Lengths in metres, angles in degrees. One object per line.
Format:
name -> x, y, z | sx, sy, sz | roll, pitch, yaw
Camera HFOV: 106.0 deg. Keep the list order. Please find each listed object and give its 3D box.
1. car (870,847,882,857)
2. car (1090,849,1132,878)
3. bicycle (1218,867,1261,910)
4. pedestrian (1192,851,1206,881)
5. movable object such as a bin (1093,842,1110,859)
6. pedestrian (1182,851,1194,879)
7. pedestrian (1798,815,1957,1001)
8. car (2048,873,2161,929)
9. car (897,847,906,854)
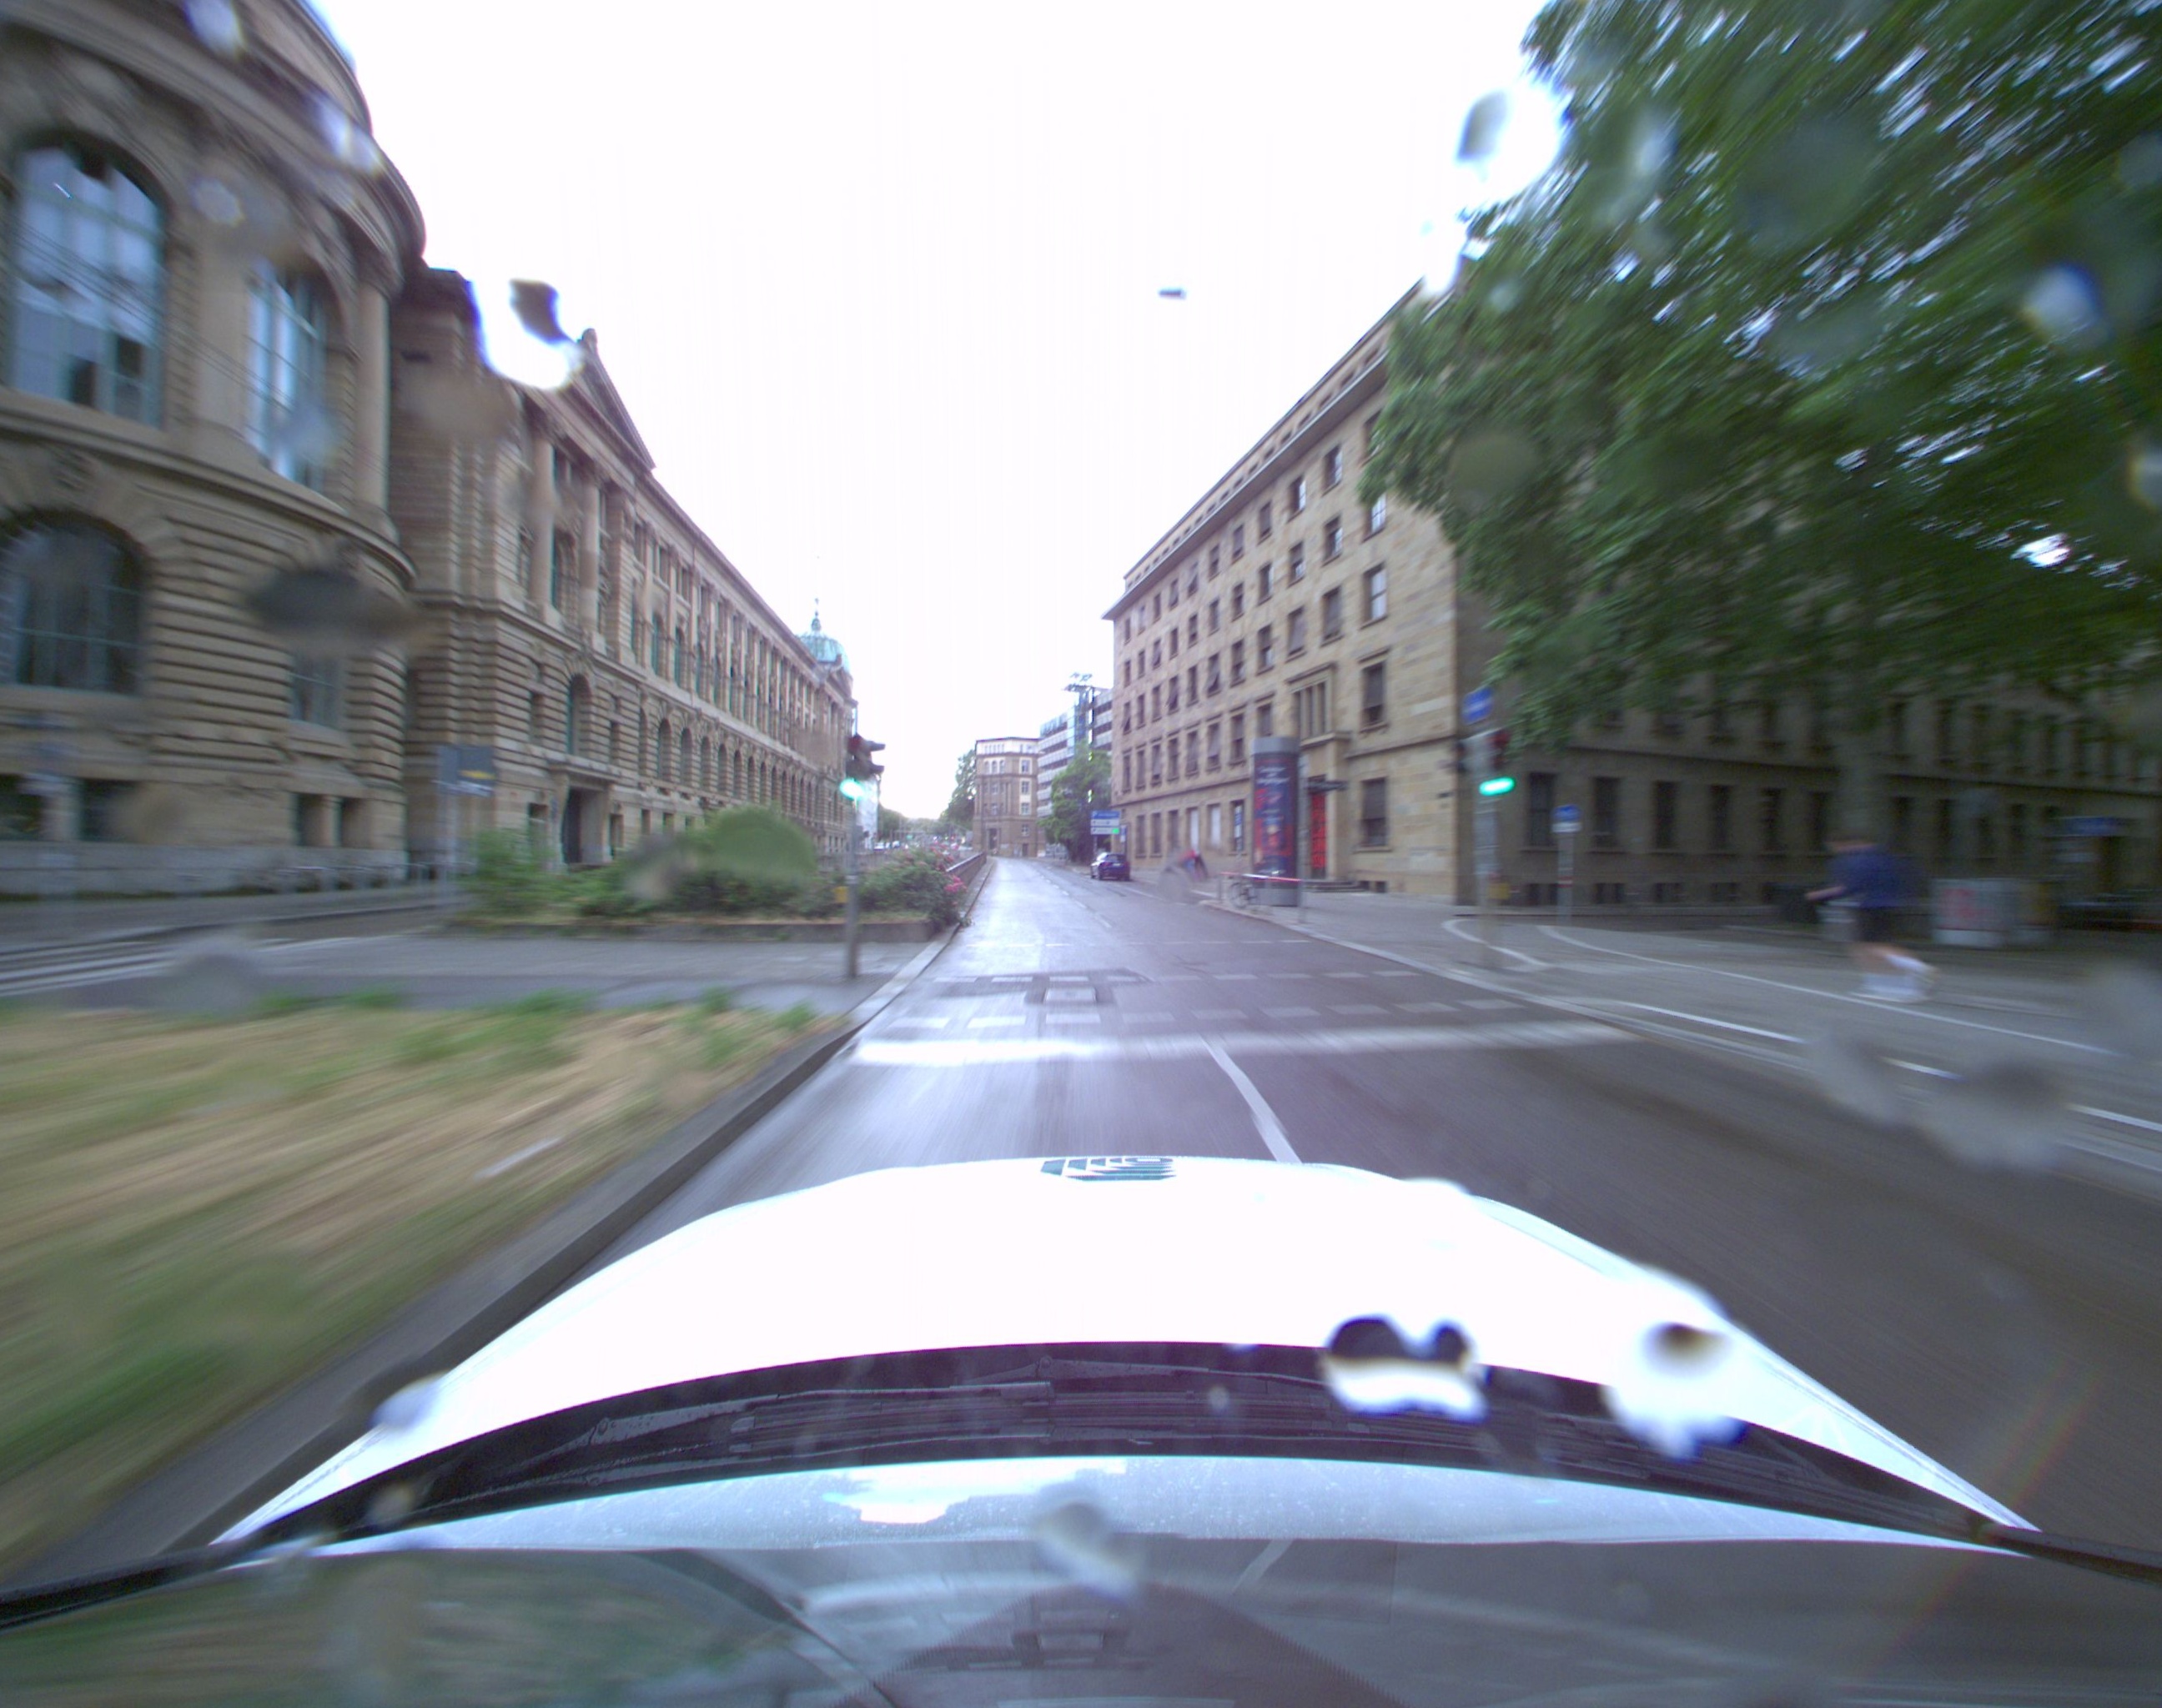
car -> -40.704, -0.422, 161.969 | 1.995, 1.883, 4.907 | 2, 0, -12
car -> 1.744, 0.546, 48.762 | 1.767, 1.619, 4.145 | 1, 0, -8
bicycle -> 4.086, 0.873, 21.120 | 0.489, 1.012, 1.922 | 1, 0, -9
pedestrian -> 6.333, 0.638, 43.807 | 0.524, 1.602, 0.671 | 1, 0, -11
movable object such as a bin -> 1.643, -0.286, 66.090 | 1.237, 1.310, 1.231 | -1, 0, -6
pedestrian -> 5.729, 0.602, 43.581 | 0.523, 1.492, 0.673 | 1, 0, -3
pedestrian -> 7.998, 0.513, 8.222 | 0.776, 1.772, 0.864 | 0, 0, 4
car -> 31.996, 1.408, 23.774 | 1.890, 1.463, 4.510 | -2, 2, -22
car -> -44.031, -0.923, 199.617 | 1.995, 1.527, 3.648 | 2, 0, -12
